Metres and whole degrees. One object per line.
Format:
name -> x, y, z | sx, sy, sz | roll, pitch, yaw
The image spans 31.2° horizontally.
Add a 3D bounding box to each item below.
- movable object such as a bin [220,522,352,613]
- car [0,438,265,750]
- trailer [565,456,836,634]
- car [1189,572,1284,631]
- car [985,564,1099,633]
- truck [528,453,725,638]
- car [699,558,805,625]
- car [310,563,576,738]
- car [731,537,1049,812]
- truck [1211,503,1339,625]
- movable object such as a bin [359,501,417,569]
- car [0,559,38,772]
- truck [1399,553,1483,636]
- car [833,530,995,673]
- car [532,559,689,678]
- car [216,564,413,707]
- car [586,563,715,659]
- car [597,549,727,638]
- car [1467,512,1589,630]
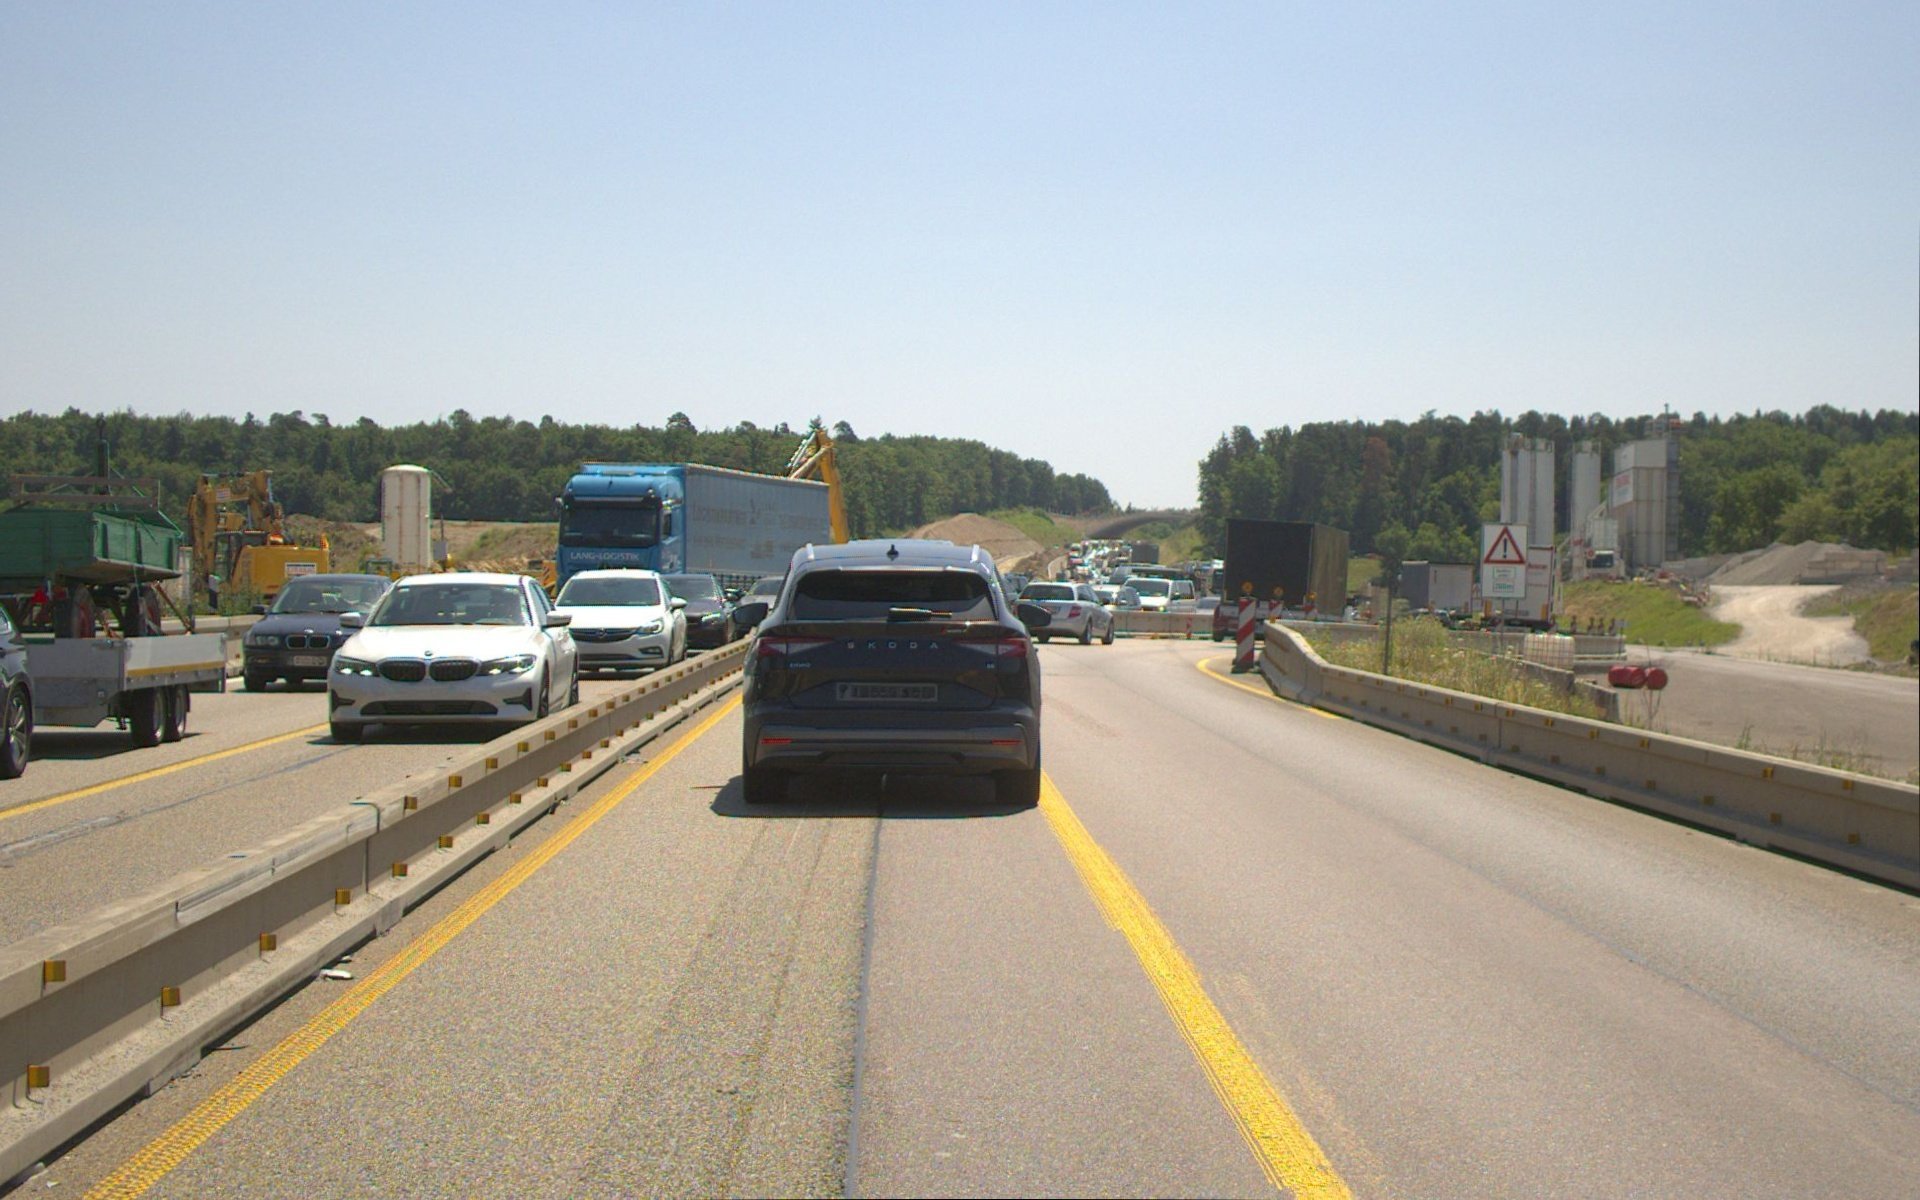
movable object such as a bin -> -22.384, -1.085, 114.071 | 2.871, 2.718, 3.361 | 3, 1, -40
car -> -7.571, -0.132, 29.756 | 1.914, 2.390, 6.453 | 1, 1, -1
trailer -> -6.310, -1.367, 87.039 | 2.916, 4.115, 13.908 | 1, 1, 12
car -> 8.336, 0.056, 103.378 | 1.823, 1.638, 3.861 | 3, 0, 20
car -> 1.957, -0.057, 80.335 | 2.046, 1.521, 5.064 | 1, 1, 8
truck -> -7.711, -1.265, 80.275 | 2.915, 4.115, 6.136 | 1, 1, 11
car -> -4.655, -0.215, 77.385 | 1.589, 1.436, 4.124 | 0, 1, 8
car -> -4.519, 0.399, 30.606 | 1.816, 1.371, 4.248 | 1, 1, -1
car -> -0.419, 0.402, 22.137 | 1.842, 1.576, 4.000 | -1, 1, 0
truck -> 8.216, -0.892, 89.257 | 2.674, 2.936, 5.617 | 1, -1, 12
movable object such as a bin -> -28.251, -3.221, 169.675 | 2.421, 3.115, 5.483 | 5, 1, -11
car -> -7.393, 0.480, 22.431 | 1.687, 1.447, 4.336 | 0, 1, -1
truck -> 27.193, -0.377, 194.916 | 3.476, 4.206, 10.375 | 6, 1, 3
car -> -0.597, 0.003, 47.890 | 1.994, 1.837, 4.000 | 2, 1, 2
car -> -4.813, 0.221, 47.873 | 1.734, 1.473, 4.520 | -2, 1, -1
car -> -7.905, 0.403, 42.388 | 1.767, 1.592, 4.001 | 0, 2, -1
car -> -4.907, 0.141, 54.990 | 1.773, 1.423, 4.771 | -1, 1, -2
car -> -5.242, -0.144, 60.994 | 2.016, 1.439, 4.588 | 0, 2, -1
car -> 21.740, -1.046, 131.147 | 3.439, 4.087, 9.190 | 5, 1, 15
